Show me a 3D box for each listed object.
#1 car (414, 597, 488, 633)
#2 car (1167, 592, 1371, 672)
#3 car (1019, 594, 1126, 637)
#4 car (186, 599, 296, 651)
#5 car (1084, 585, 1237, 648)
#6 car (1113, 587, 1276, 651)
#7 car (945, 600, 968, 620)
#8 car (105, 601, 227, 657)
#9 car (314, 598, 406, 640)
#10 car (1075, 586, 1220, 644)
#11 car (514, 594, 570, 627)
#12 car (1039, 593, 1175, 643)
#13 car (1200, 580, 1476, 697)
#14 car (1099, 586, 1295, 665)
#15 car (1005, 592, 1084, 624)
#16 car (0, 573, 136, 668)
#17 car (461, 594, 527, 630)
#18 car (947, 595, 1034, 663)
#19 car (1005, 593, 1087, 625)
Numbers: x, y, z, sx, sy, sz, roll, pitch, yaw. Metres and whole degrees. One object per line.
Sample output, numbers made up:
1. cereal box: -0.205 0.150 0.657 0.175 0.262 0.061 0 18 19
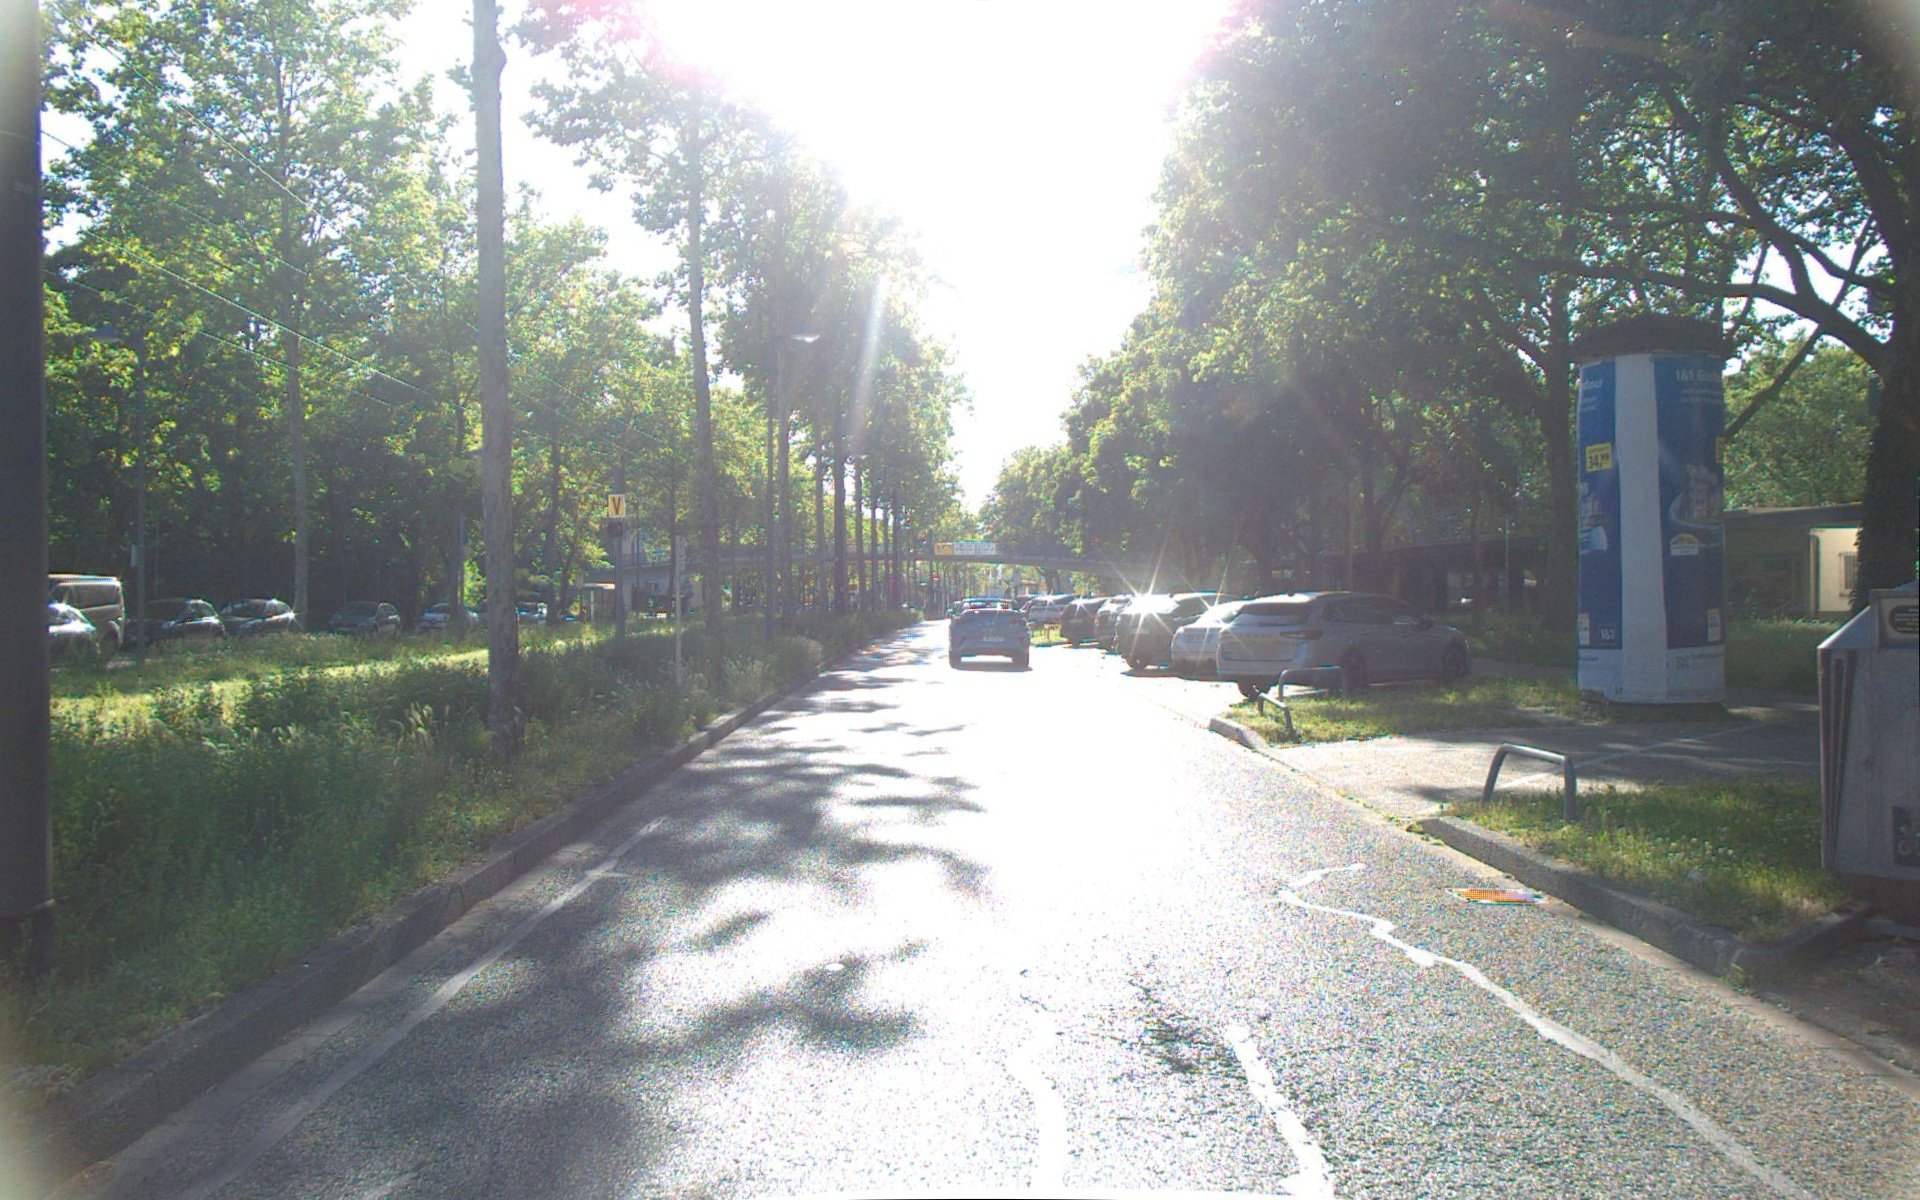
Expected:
1. car: -22.614 0.636 73.585 1.952 1.478 4.000 2 0 1
2. car: 5.946 0.580 31.512 4.298 1.320 1.664 -2 0 -45
3. car: 4.688 0.633 68.458 4.588 1.710 1.827 1 0 -44
4. car: -22.713 0.765 52.399 1.834 1.478 3.575 2 0 1
5. car: 5.620 0.435 45.977 1.825 1.597 4.593 -1 0 44
6. car: 6.083 0.475 42.597 1.888 1.475 4.431 -3 -1 44
7. car: -0.285 0.769 131.785 1.811 1.562 3.866 0 0 0
8. car: -22.636 0.797 47.288 1.611 1.478 3.664 2 0 1
9. car: -22.814 0.691 63.059 1.952 1.478 4.000 2 0 1
10. car: 5.600 0.422 49.024 4.590 1.597 1.826 -1 0 -45
11. car: -21.989 0.533 87.104 1.750 1.617 4.168 2 0 1
12. car: 4.748 0.557 52.842 1.945 1.484 4.595 -1 0 43
13. car: 5.586 0.502 24.129 4.461 1.469 1.826 -2 0 -45
14. car: 5.003 0.504 34.583 4.298 1.449 1.826 -2 0 -45
15. car: 4.803 0.461 93.766 4.588 1.799 1.827 1 0 -44
16. car: -22.263 0.454 40.469 1.611 2.129 4.915 2 0 1
17. car: -22.755 0.567 80.945 1.952 1.617 4.168 2 0 1
18. car: 0.663 0.628 38.008 1.883 1.436 4.000 0 1 0
19. car: 4.698 0.487 89.867 4.588 1.710 1.827 1 0 -44
